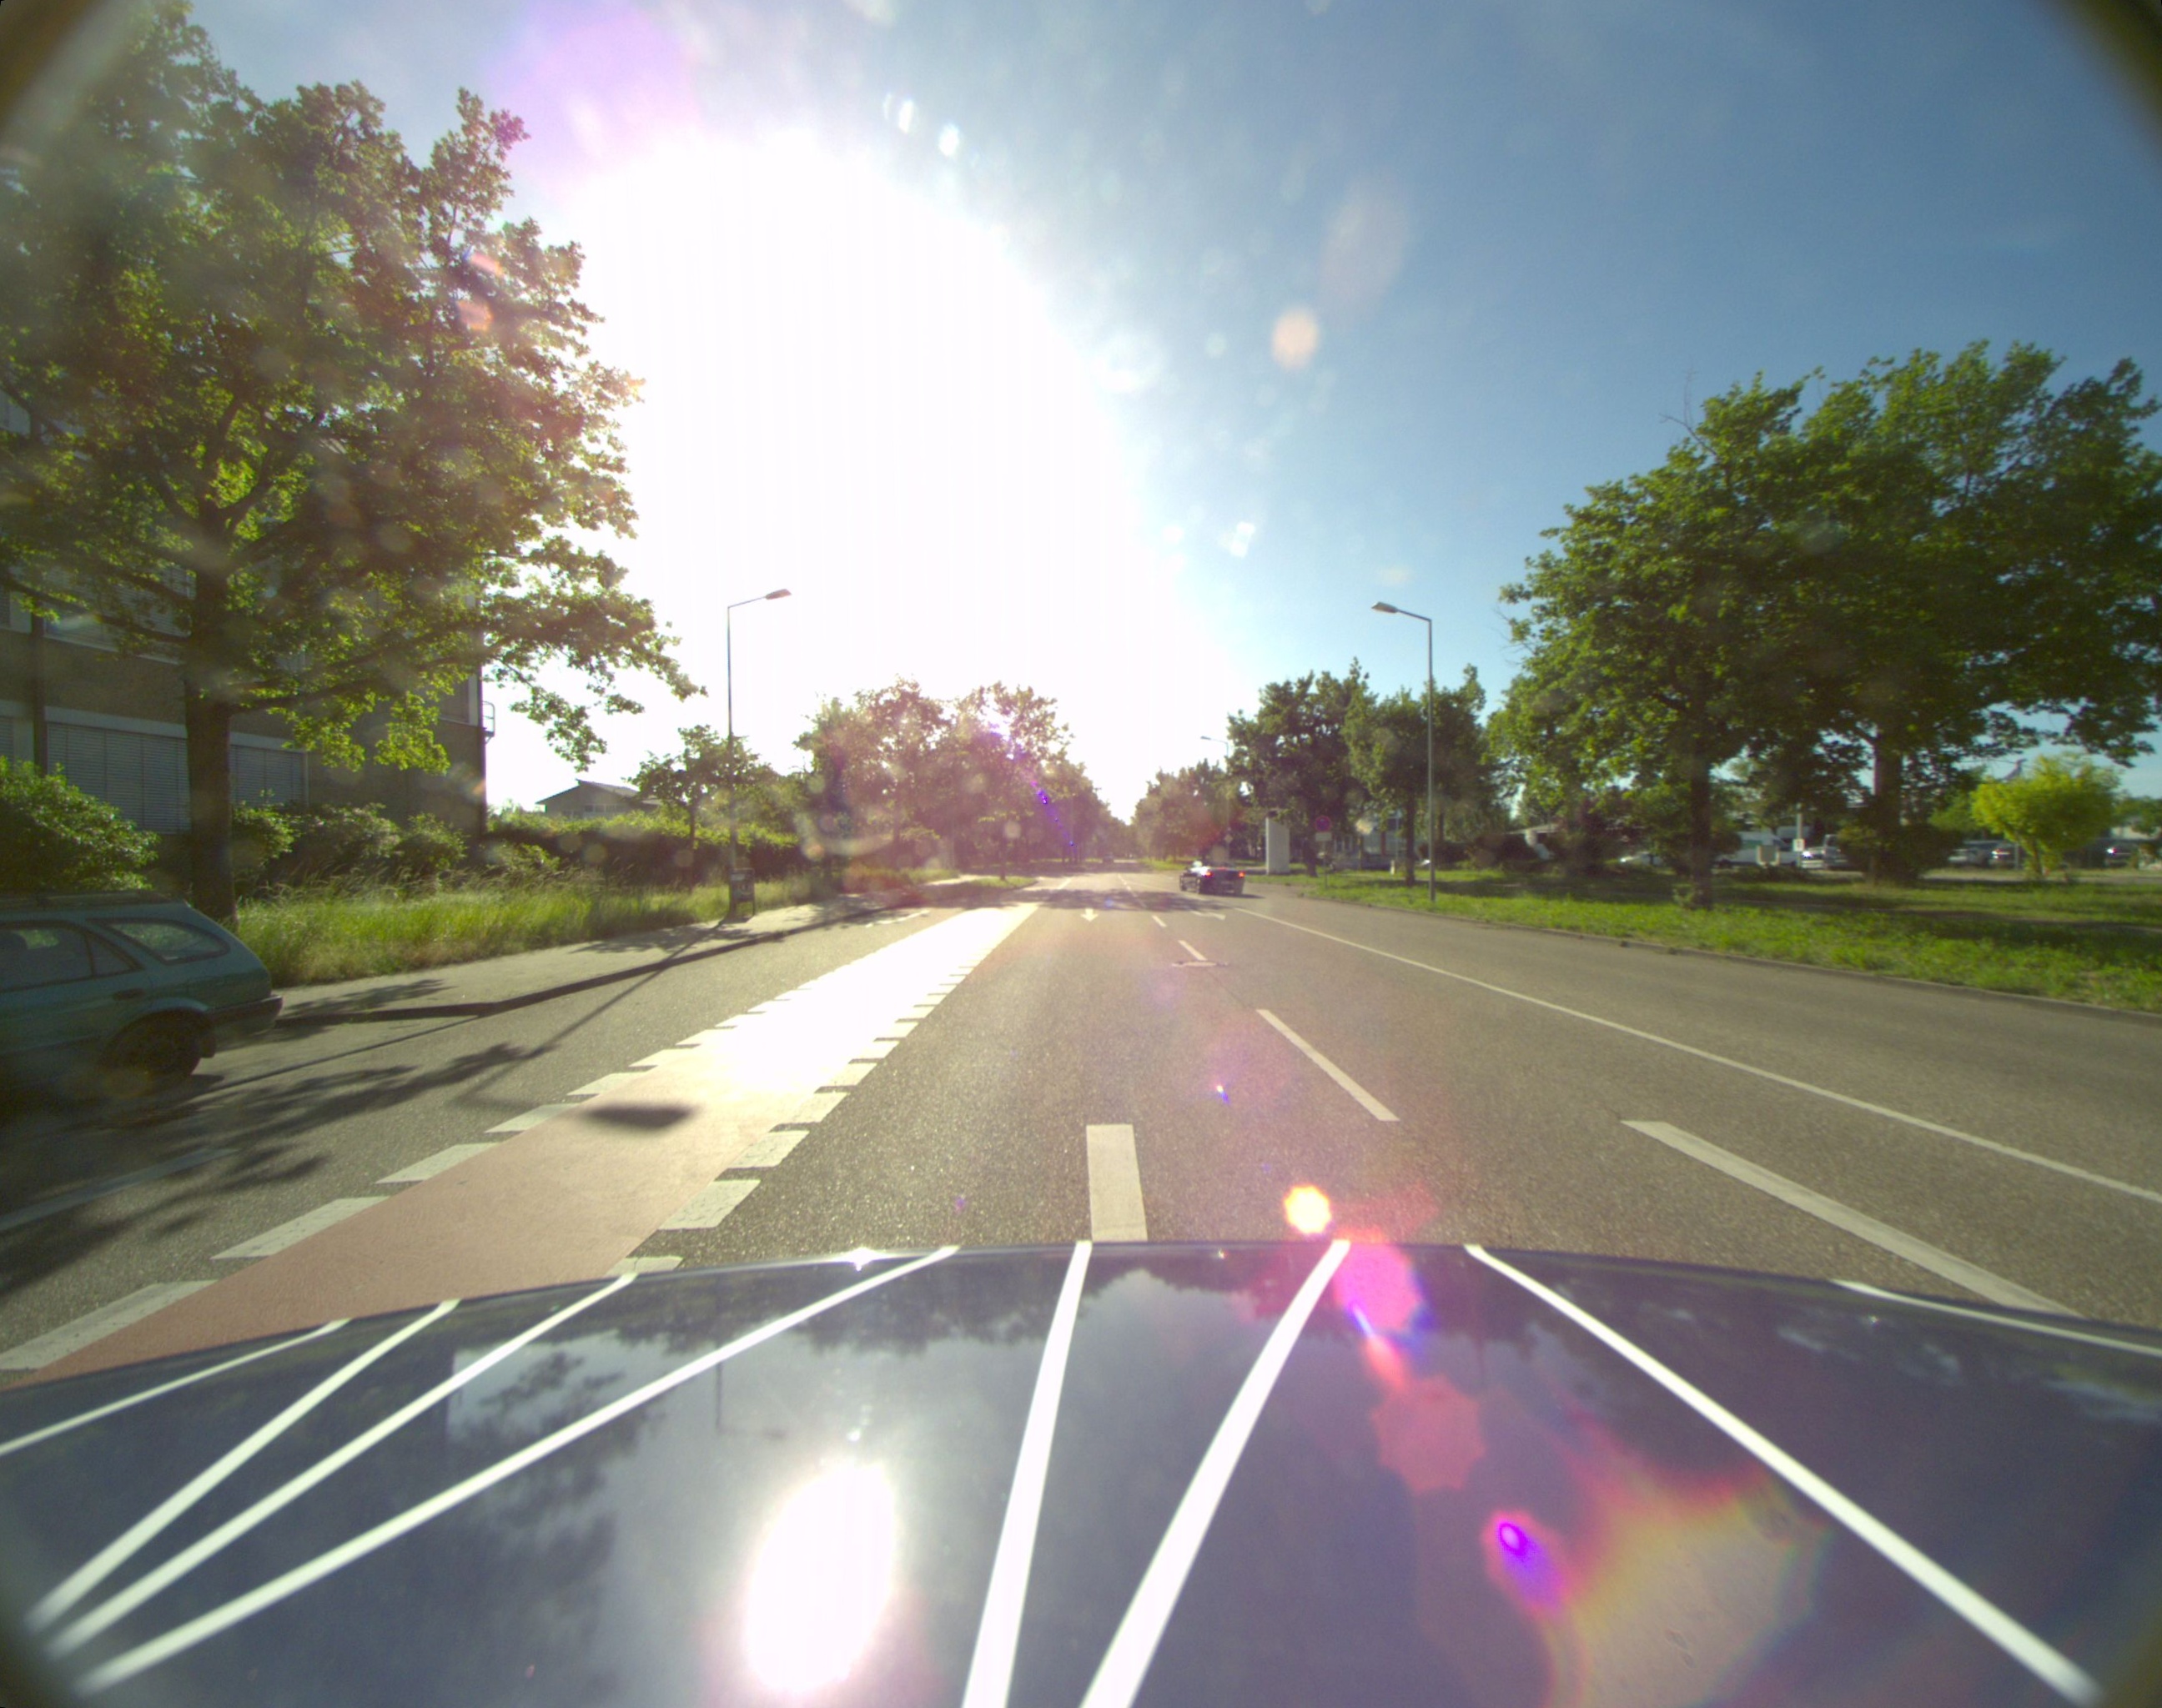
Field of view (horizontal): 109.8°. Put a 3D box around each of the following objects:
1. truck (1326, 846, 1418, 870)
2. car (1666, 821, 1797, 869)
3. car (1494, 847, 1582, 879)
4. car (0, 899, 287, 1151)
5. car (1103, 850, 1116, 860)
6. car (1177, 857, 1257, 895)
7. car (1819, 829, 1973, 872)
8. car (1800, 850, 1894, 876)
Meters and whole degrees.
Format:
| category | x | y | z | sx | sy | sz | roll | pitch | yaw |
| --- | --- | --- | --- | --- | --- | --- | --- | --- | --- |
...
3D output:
| category | x | y | z | sx | sy | sz | roll | pitch | yaw |
| --- | --- | --- | --- | --- | --- | --- | --- | --- | --- |
| truck | 25.054 | 0.350 | 65.511 | 7.130 | 2.038 | 2.140 | 0 | 1 | -2 |
| car | 39.482 | -0.558 | 46.199 | 6.176 | 2.687 | 2.300 | -2 | 1 | -3 |
| car | 39.903 | 0.779 | 66.406 | 6.356 | 2.501 | 2.300 | -2 | 1 | -3 |
| car | -7.478 | 1.118 | 4.239 | 1.596 | 1.420 | 4.203 | 1 | 1 | 2 |
| car | 4.370 | 0.135 | 117.963 | 1.827 | 1.477 | 3.999 | -2 | 1 | 1 |
| car | 5.509 | 0.855 | 31.439 | 2.000 | 1.395 | 4.584 | 2 | 0 | -7 |
| car | 40.765 | -0.189 | 38.088 | 5.424 | 2.058 | 2.300 | -1 | 1 | -3 |
| car | 41.128 | 0.464 | 40.837 | 3.532 | 1.294 | 1.574 | -1 | 1 | -2 |
